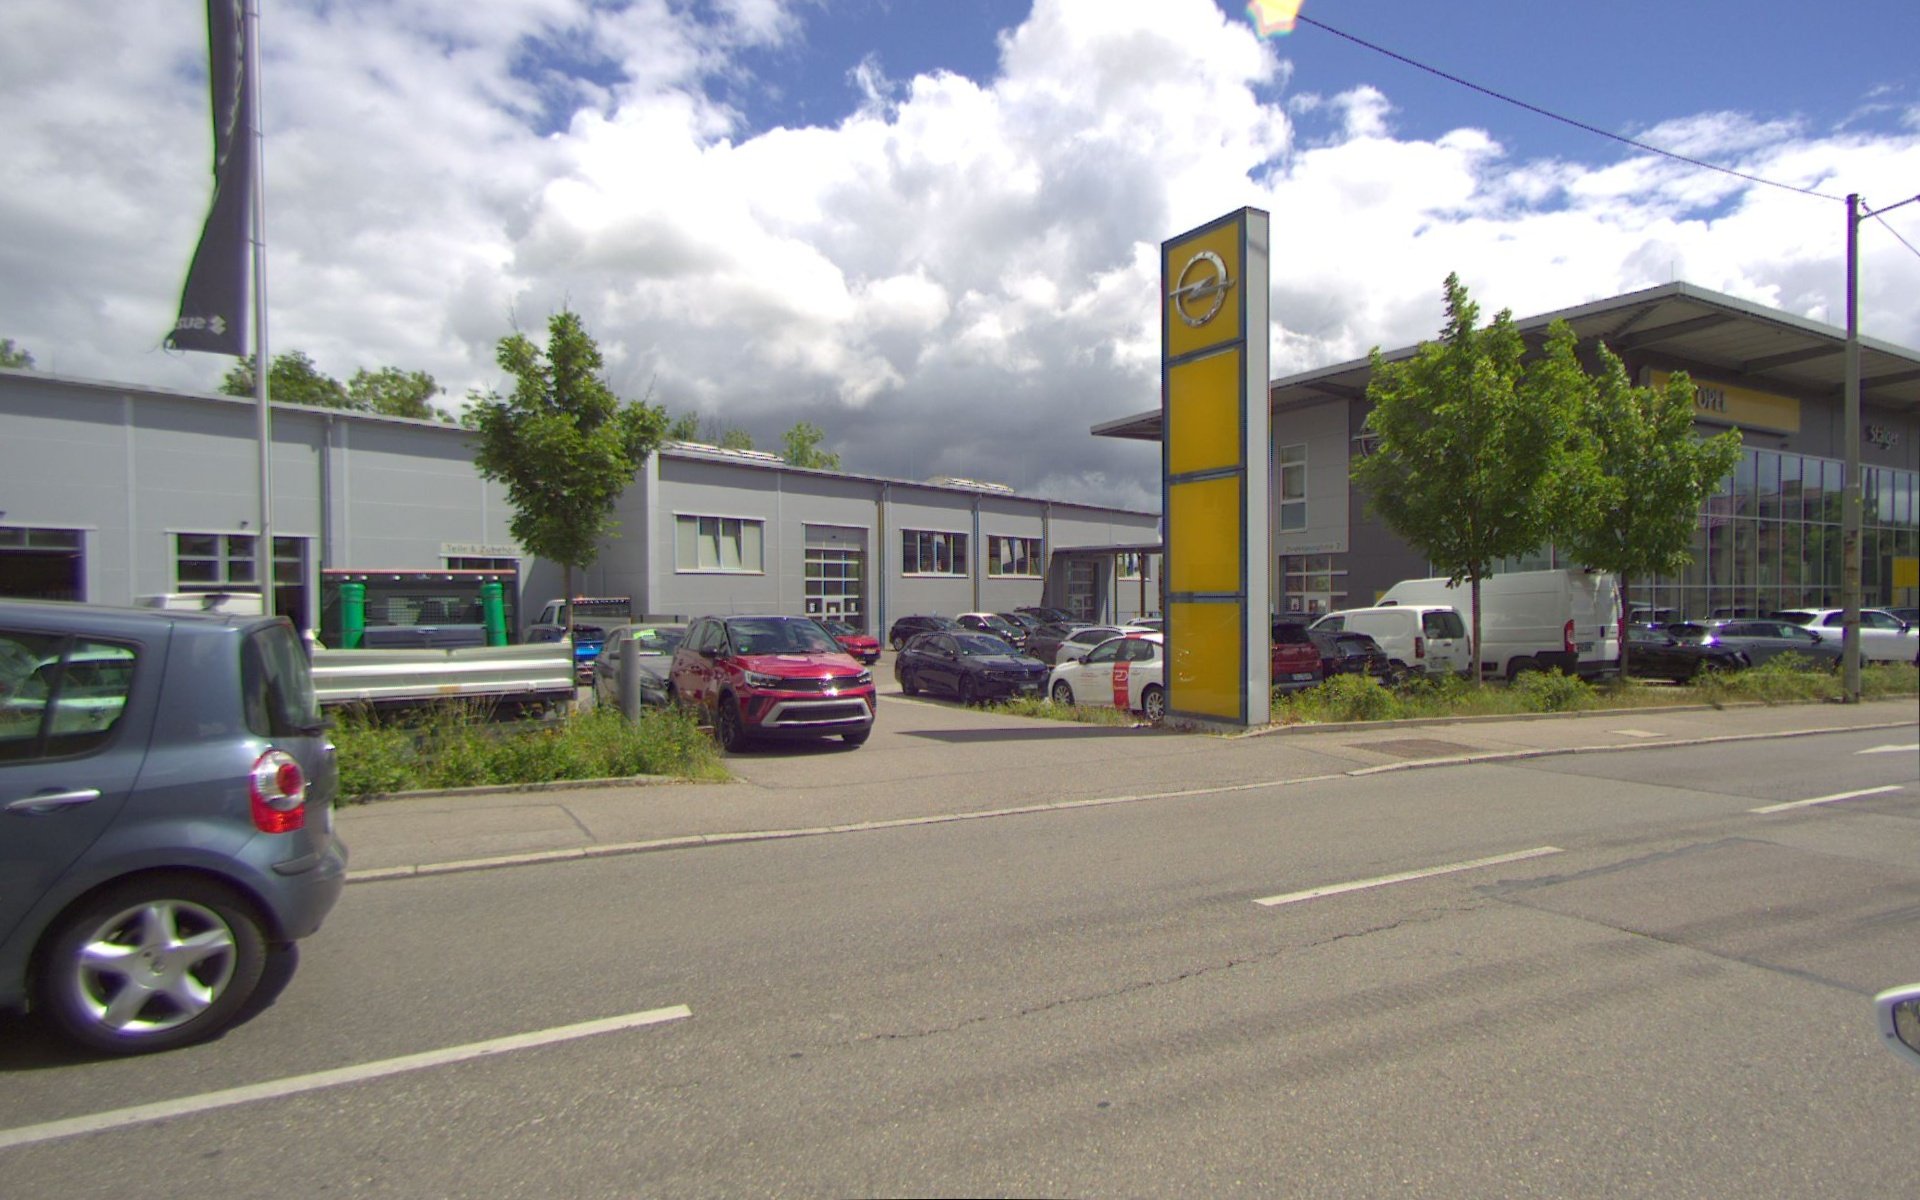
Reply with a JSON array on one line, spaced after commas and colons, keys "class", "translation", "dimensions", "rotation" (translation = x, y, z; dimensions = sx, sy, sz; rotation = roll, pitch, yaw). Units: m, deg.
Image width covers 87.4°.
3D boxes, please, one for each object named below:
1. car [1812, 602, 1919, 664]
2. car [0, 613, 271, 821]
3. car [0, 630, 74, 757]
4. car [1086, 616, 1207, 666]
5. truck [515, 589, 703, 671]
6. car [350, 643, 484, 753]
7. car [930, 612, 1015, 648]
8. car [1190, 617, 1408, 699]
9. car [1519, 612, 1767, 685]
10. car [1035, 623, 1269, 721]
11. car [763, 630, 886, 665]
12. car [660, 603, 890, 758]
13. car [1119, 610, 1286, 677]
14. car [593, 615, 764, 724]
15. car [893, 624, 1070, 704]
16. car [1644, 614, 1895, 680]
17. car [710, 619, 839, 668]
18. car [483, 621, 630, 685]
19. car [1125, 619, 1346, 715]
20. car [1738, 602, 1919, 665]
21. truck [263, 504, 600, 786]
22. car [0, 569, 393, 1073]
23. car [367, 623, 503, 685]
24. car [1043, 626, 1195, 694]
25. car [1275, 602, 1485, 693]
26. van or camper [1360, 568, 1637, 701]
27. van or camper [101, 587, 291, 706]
[{"class": "car", "translation": [28.493, 0.954, 30.081], "dimensions": [4.398, 1.721, 1.999], "rotation": [-1, 1, -4]}, {"class": "car", "translation": [-8.340, 0.991, 10.098], "dimensions": [1.905, 1.631, 3.868], "rotation": [2, -1, -29]}, {"class": "car", "translation": [-12.746, 1.137, 12.482], "dimensions": [1.813, 1.428, 3.664], "rotation": [2, -1, -29]}, {"class": "car", "translation": [5.967, 1.279, 32.513], "dimensions": [1.828, 1.417, 3.672], "rotation": [-1, 1, -34]}, {"class": "truck", "translation": [-10.835, 0.890, 30.762], "dimensions": [6.220, 2.258, 2.689], "rotation": [0, -2, 41]}, {"class": "car", "translation": [-8.520, 1.434, 15.798], "dimensions": [1.626, 1.346, 3.806], "rotation": [2, -1, -29]}, {"class": "car", "translation": [0.523, 1.250, 43.142], "dimensions": [3.430, 1.417, 1.653], "rotation": [0, 1, 43]}, {"class": "car", "translation": [6.771, 1.114, 20.458], "dimensions": [1.905, 1.428, 3.969], "rotation": [2, -1, -29]}, {"class": "car", "translation": [15.681, 1.086, 23.346], "dimensions": [4.388, 1.529, 1.944], "rotation": [0, -1, 19]}, {"class": "car", "translation": [3.273, 1.167, 17.820], "dimensions": [1.977, 1.428, 3.968], "rotation": [1, 0, -30]}, {"class": "car", "translation": [-4.756, 1.616, 34.995], "dimensions": [4.229, 1.037, 1.787], "rotation": [1, -1, 38]}, {"class": "car", "translation": [-2.497, 0.947, 12.707], "dimensions": [1.732, 1.609, 3.972], "rotation": [-1, -3, -28]}, {"class": "car", "translation": [6.241, 1.084, 26.347], "dimensions": [1.905, 1.556, 4.209], "rotation": [2, -1, -29]}, {"class": "car", "translation": [-4.827, 1.114, 16.819], "dimensions": [1.804, 1.542, 4.061], "rotation": [-1, -2, -30]}, {"class": "car", "translation": [0.334, 1.279, 21.429], "dimensions": [1.905, 1.428, 4.209], "rotation": [2, -1, -29]}, {"class": "car", "translation": [19.916, 1.136, 24.858], "dimensions": [4.738, 1.470, 1.900], "rotation": [-1, 1, -2]}, {"class": "car", "translation": [-6.157, 1.400, 33.150], "dimensions": [4.175, 1.428, 1.921], "rotation": [1, -1, 38]}, {"class": "car", "translation": [-11.073, 1.392, 27.454], "dimensions": [4.175, 1.516, 1.920], "rotation": [1, -1, 38]}, {"class": "car", "translation": [5.120, 1.170, 19.193], "dimensions": [1.974, 1.511, 3.973], "rotation": [-1, 1, -26]}, {"class": "car", "translation": [24.233, 0.922, 27.561], "dimensions": [4.468, 1.593, 1.935], "rotation": [1, -1, -6]}, {"class": "truck", "translation": [-5.829, 0.423, 10.893], "dimensions": [2.449, 2.176, 5.830], "rotation": [2, -2, -32]}, {"class": "car", "translation": [-4.296, 0.735, 3.526], "dimensions": [3.995, 1.616, 1.735], "rotation": [1, -3, -31]}, {"class": "car", "translation": [-14.534, 1.430, 27.737], "dimensions": [4.178, 1.428, 1.919], "rotation": [1, 2, 40]}, {"class": "car", "translation": [3.898, 1.437, 25.125], "dimensions": [1.827, 1.417, 3.675], "rotation": [-1, 1, -32]}, {"class": "car", "translation": [9.000, 0.939, 21.866], "dimensions": [1.972, 1.729, 3.977], "rotation": [-1, 1, -23]}, {"class": "van or camper", "translation": [11.714, 0.652, 22.260], "dimensions": [2.290, 2.565, 5.004], "rotation": [-1, 1, -29]}, {"class": "van or camper", "translation": [-17.539, 0.937, 22.923], "dimensions": [5.818, 2.387, 2.489], "rotation": [0, 0, 43]}]
